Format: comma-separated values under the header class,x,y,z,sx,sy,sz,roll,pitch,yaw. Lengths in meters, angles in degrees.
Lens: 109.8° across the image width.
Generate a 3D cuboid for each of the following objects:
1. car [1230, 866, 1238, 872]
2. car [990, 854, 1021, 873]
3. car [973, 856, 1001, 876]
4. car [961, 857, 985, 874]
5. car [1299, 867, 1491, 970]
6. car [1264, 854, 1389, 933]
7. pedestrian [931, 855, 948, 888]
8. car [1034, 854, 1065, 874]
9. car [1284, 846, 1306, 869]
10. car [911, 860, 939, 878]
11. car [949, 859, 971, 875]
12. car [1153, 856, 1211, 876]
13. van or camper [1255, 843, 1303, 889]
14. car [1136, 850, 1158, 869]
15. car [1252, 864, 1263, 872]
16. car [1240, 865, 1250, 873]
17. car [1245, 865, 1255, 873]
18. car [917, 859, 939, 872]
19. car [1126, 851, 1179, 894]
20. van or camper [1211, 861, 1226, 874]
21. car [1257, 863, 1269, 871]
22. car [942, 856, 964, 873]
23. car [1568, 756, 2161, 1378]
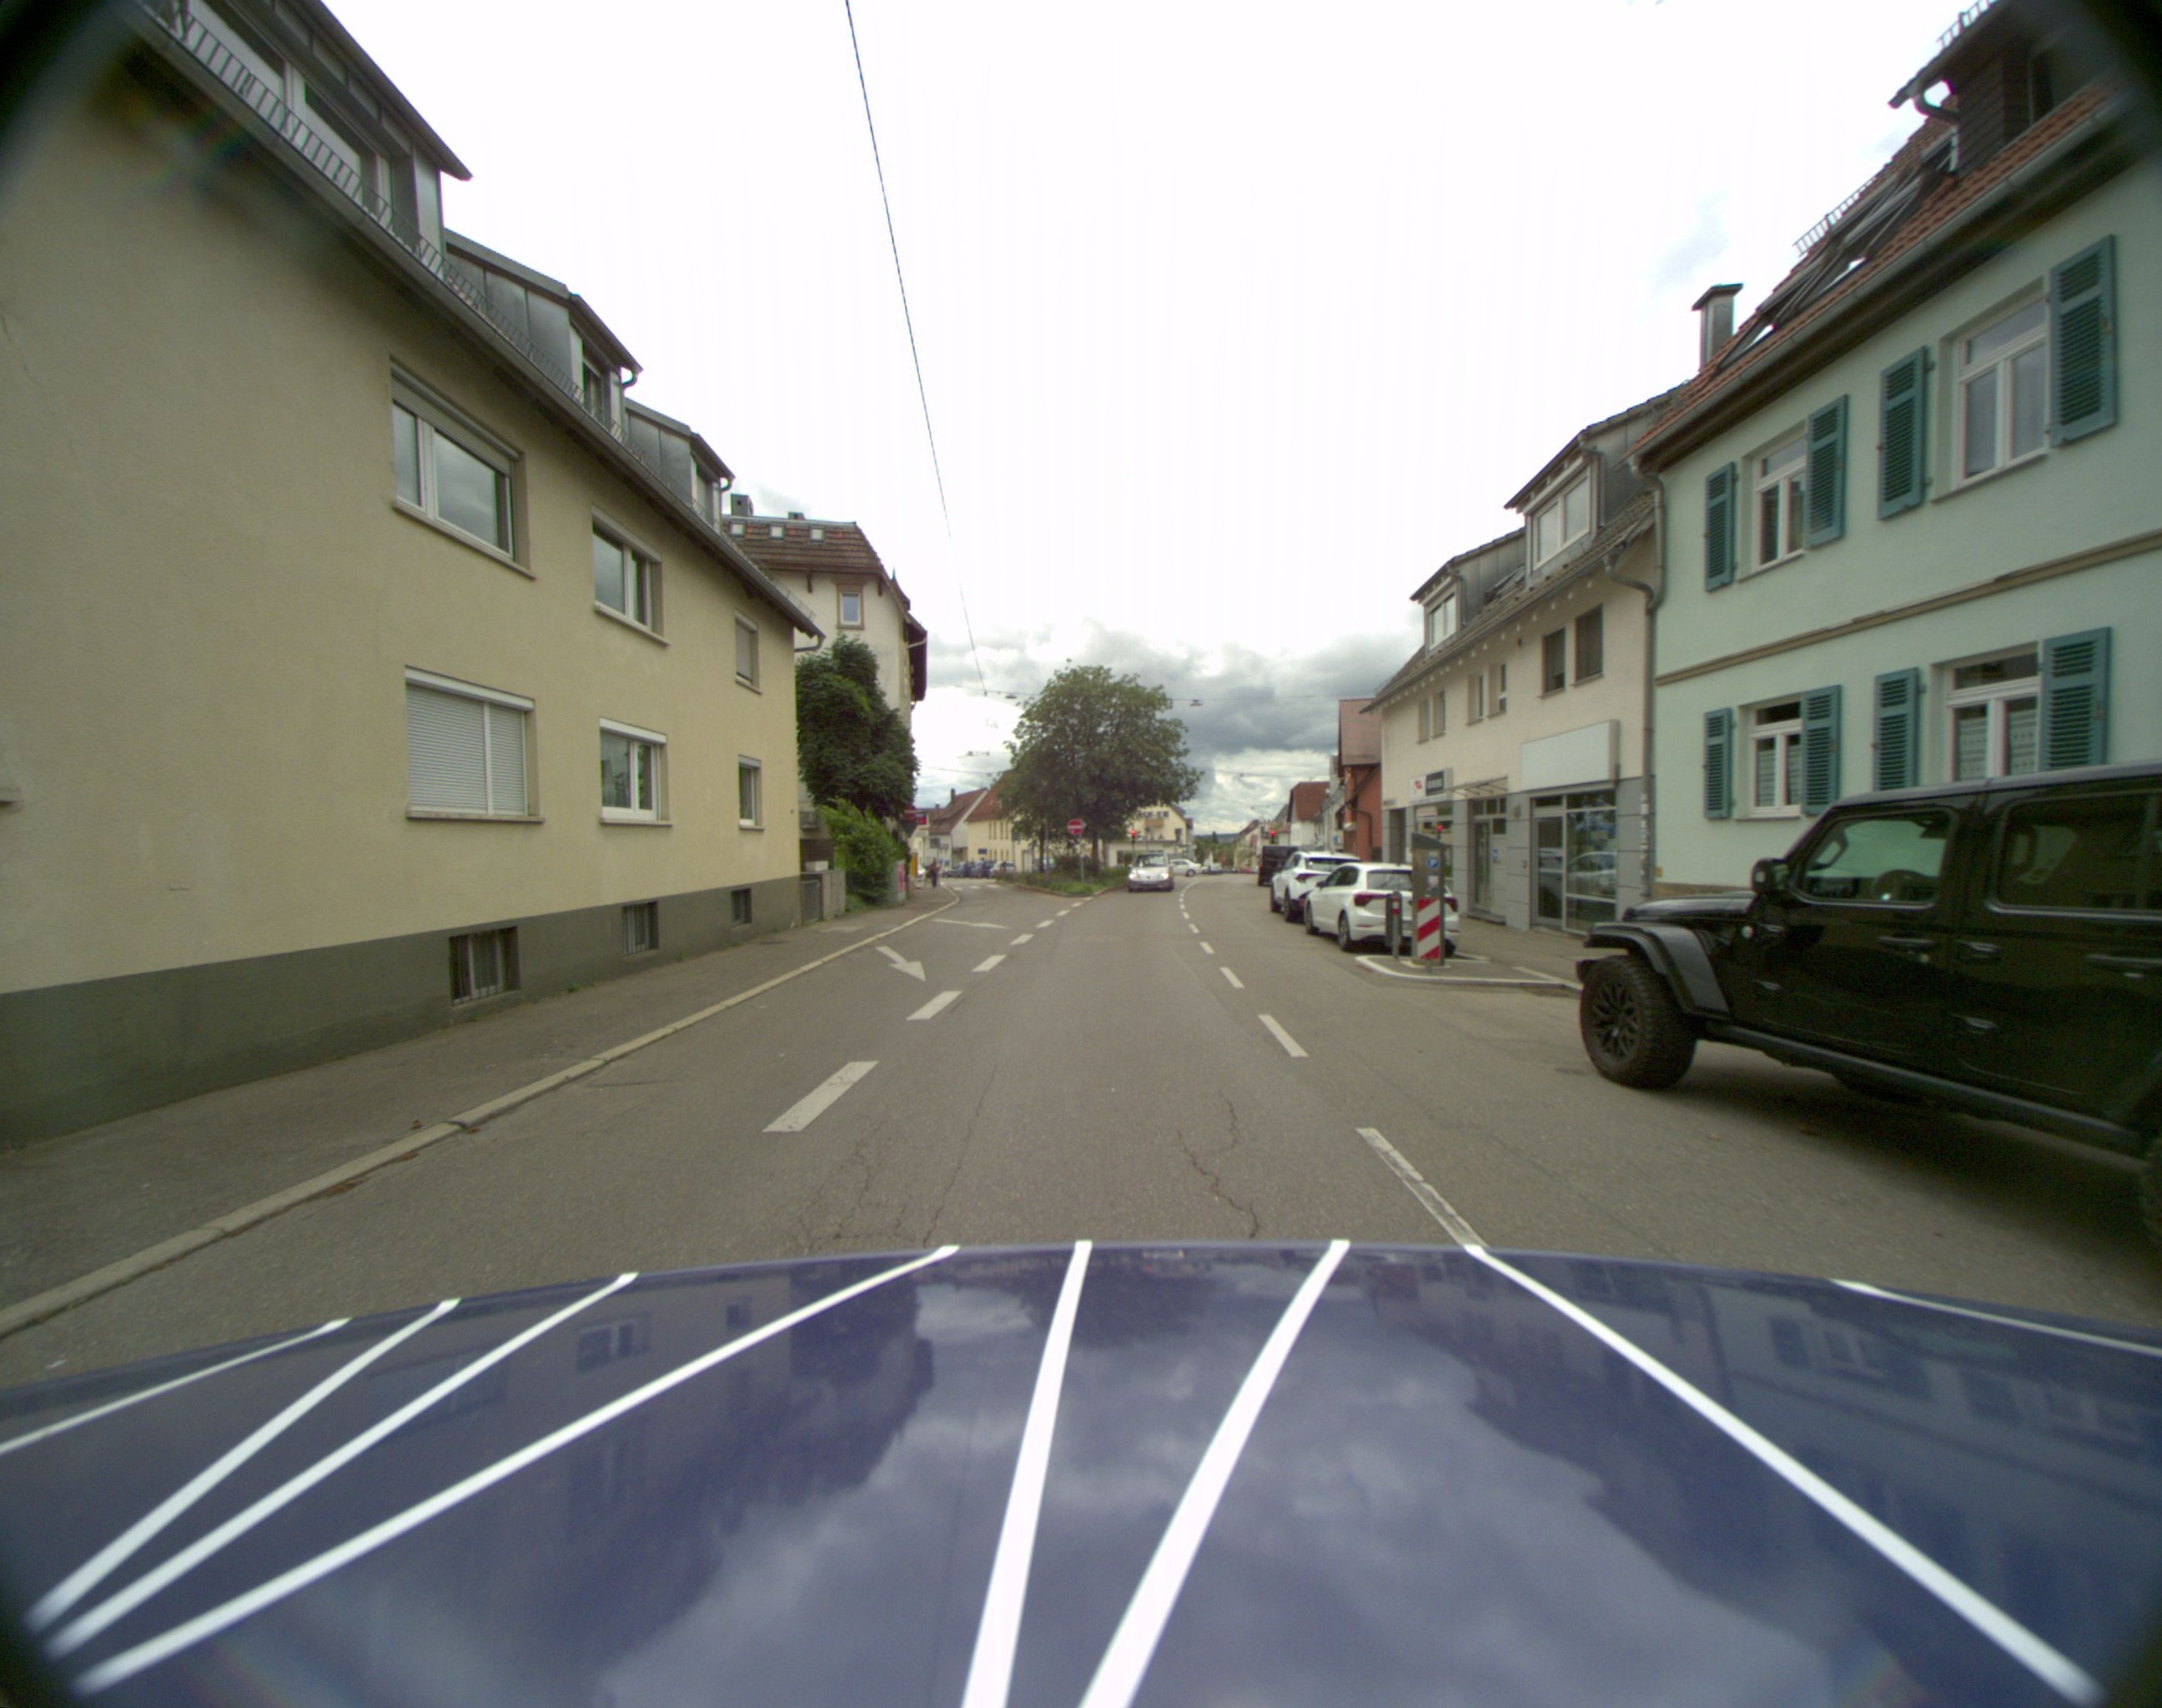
class,x,y,z,sx,sy,sz,roll,pitch,yaw
car,41.113,4.002,204.020,1.705,1.523,3.739,2,-1,8
car,-7.049,0.933,70.823,1.777,1.608,3.994,-2,-1,-22
car,-9.518,1.239,76.828,1.777,1.931,4.317,2,-2,-22
car,-11.919,1.323,83.700,1.724,1.720,3.994,-2,-1,-21
car,5.232,1.001,13.292,2.002,1.428,3.920,-1,0,5
car,5.764,0.842,18.493,2.002,1.623,4.860,-1,0,7
pedestrian,-7.756,0.953,41.615,0.861,1.722,1.021,-2,-1,-13
car,-3.111,0.983,74.531,1.904,1.791,4.888,-2,-1,-16
car,19.847,0.322,70.386,1.814,1.994,4.770,2,-1,17
car,-14.114,1.364,68.509,1.777,1.470,3.824,2,-3,-21
car,-14.156,1.583,88.878,1.724,1.720,3.994,-2,-1,-21
car,8.263,0.987,62.572,4.564,1.436,2.001,1,0,3
van or camper,9.708,0.532,37.258,2.076,1.994,4.862,2,2,14
car,6.169,0.541,70.929,1.749,1.729,4.576,1,-1,8
car,32.544,2.627,140.084,1.652,1.438,3.778,1,-1,10
car,36.019,3.265,166.920,1.705,1.523,3.739,2,-1,8
car,34.556,3.050,155.672,1.705,1.402,3.739,2,-1,8
car,-21.484,1.623,106.681,2.284,1.720,3.994,-2,-1,-21
car,2.993,0.744,31.297,1.720,1.586,4.004,-2,-1,11
van or camper,22.457,2.203,124.270,1.997,2.001,5.068,-3,-1,7
car,32.294,2.310,134.872,1.652,1.438,3.814,1,-1,8
car,-15.751,1.322,93.280,2.002,2.001,3.994,-2,-1,-19
car,4.520,0.711,3.197,1.998,2.002,4.671,2,0,2
